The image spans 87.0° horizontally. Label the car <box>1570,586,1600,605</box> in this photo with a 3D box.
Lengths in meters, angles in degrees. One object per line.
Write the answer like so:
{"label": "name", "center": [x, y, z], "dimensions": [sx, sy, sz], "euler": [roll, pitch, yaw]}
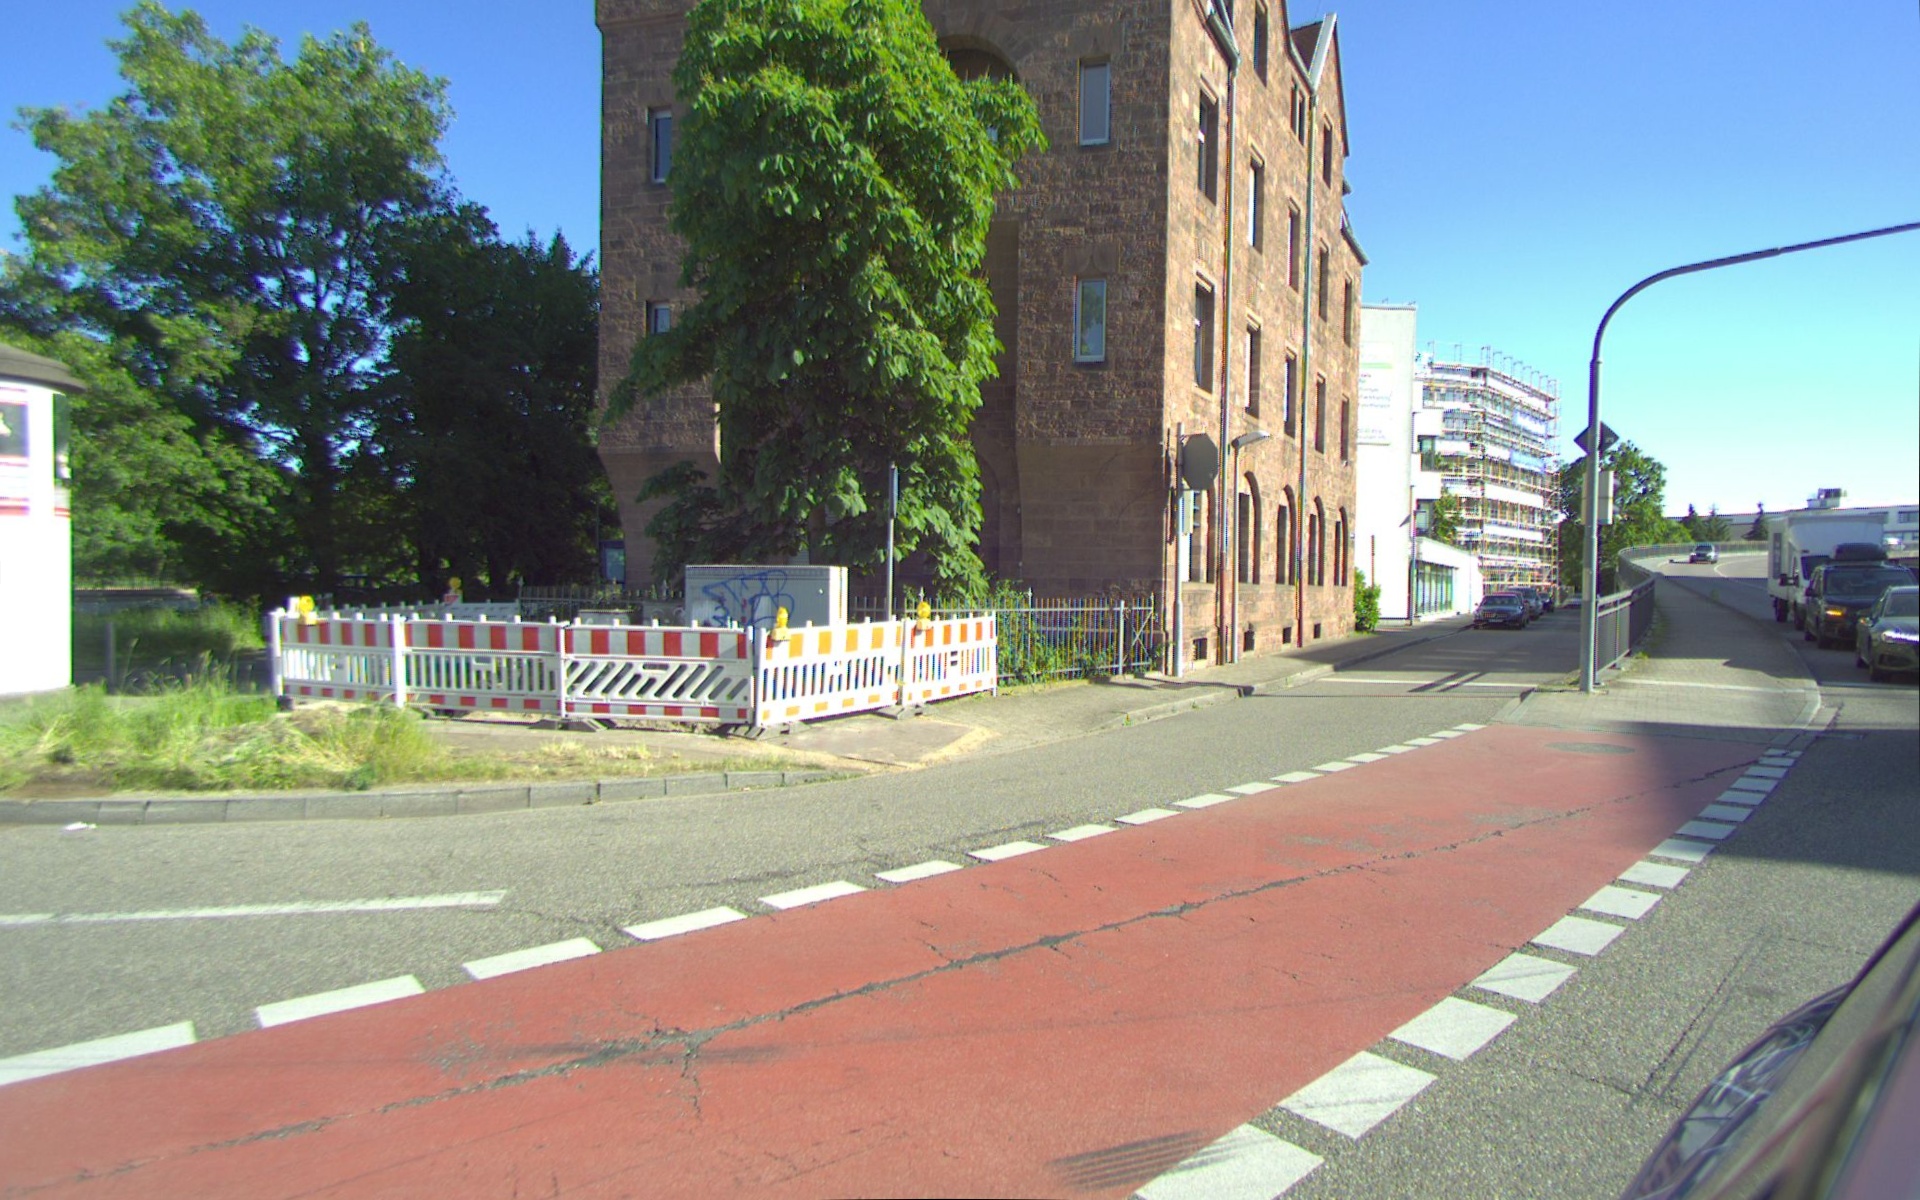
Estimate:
{"label": "car", "center": [60.092, -0.428, 97.295], "dimensions": [1.751, 1.781, 4.139], "euler": [2, 1, 42]}

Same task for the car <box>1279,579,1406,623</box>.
{"label": "car", "center": [14.379, 0.028, 38.228], "dimensions": [4.014, 1.551, 1.920], "euler": [1, 0, -1]}

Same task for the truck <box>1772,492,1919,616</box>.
{"label": "truck", "center": [25.447, -1.223, 29.337], "dimensions": [2.489, 3.167, 6.871], "euler": [1, 1, 35]}

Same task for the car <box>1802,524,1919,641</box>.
{"label": "car", "center": [19.915, -0.368, 22.185], "dimensions": [1.941, 2.290, 4.721], "euler": [2, 1, 37]}

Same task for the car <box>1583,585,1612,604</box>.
{"label": "car", "center": [63.925, -0.571, 101.401], "dimensions": [1.751, 1.781, 4.114], "euler": [2, 1, 42]}

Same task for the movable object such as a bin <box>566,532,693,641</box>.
{"label": "movable object such as a bin", "center": [-8.031, -0.336, 24.985], "dimensions": [1.961, 2.439, 4.002], "euler": [1, 1, -2]}

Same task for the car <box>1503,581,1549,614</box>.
{"label": "car", "center": [30.659, -0.147, 54.760], "dimensions": [2.038, 1.707, 4.047], "euler": [1, 1, 31]}

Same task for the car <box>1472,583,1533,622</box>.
{"label": "car", "center": [22.913, 0.076, 42.680], "dimensions": [2.038, 1.551, 4.046], "euler": [1, 1, 32]}

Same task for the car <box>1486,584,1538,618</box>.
{"label": "car", "center": [26.513, 0.024, 48.535], "dimensions": [2.038, 1.551, 4.047], "euler": [1, 1, 31]}

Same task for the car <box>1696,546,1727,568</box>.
{"label": "car", "center": [66.917, -3.831, 90.042], "dimensions": [1.751, 1.781, 4.712], "euler": [2, 1, 42]}

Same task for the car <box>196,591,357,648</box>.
{"label": "car", "center": [-20.761, 0.541, 30.822], "dimensions": [1.993, 1.581, 3.723], "euler": [2, 1, 42]}

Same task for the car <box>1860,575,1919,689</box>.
{"label": "car", "center": [15.450, 0.421, 15.740], "dimensions": [1.871, 1.488, 4.573], "euler": [2, 4, 38]}
